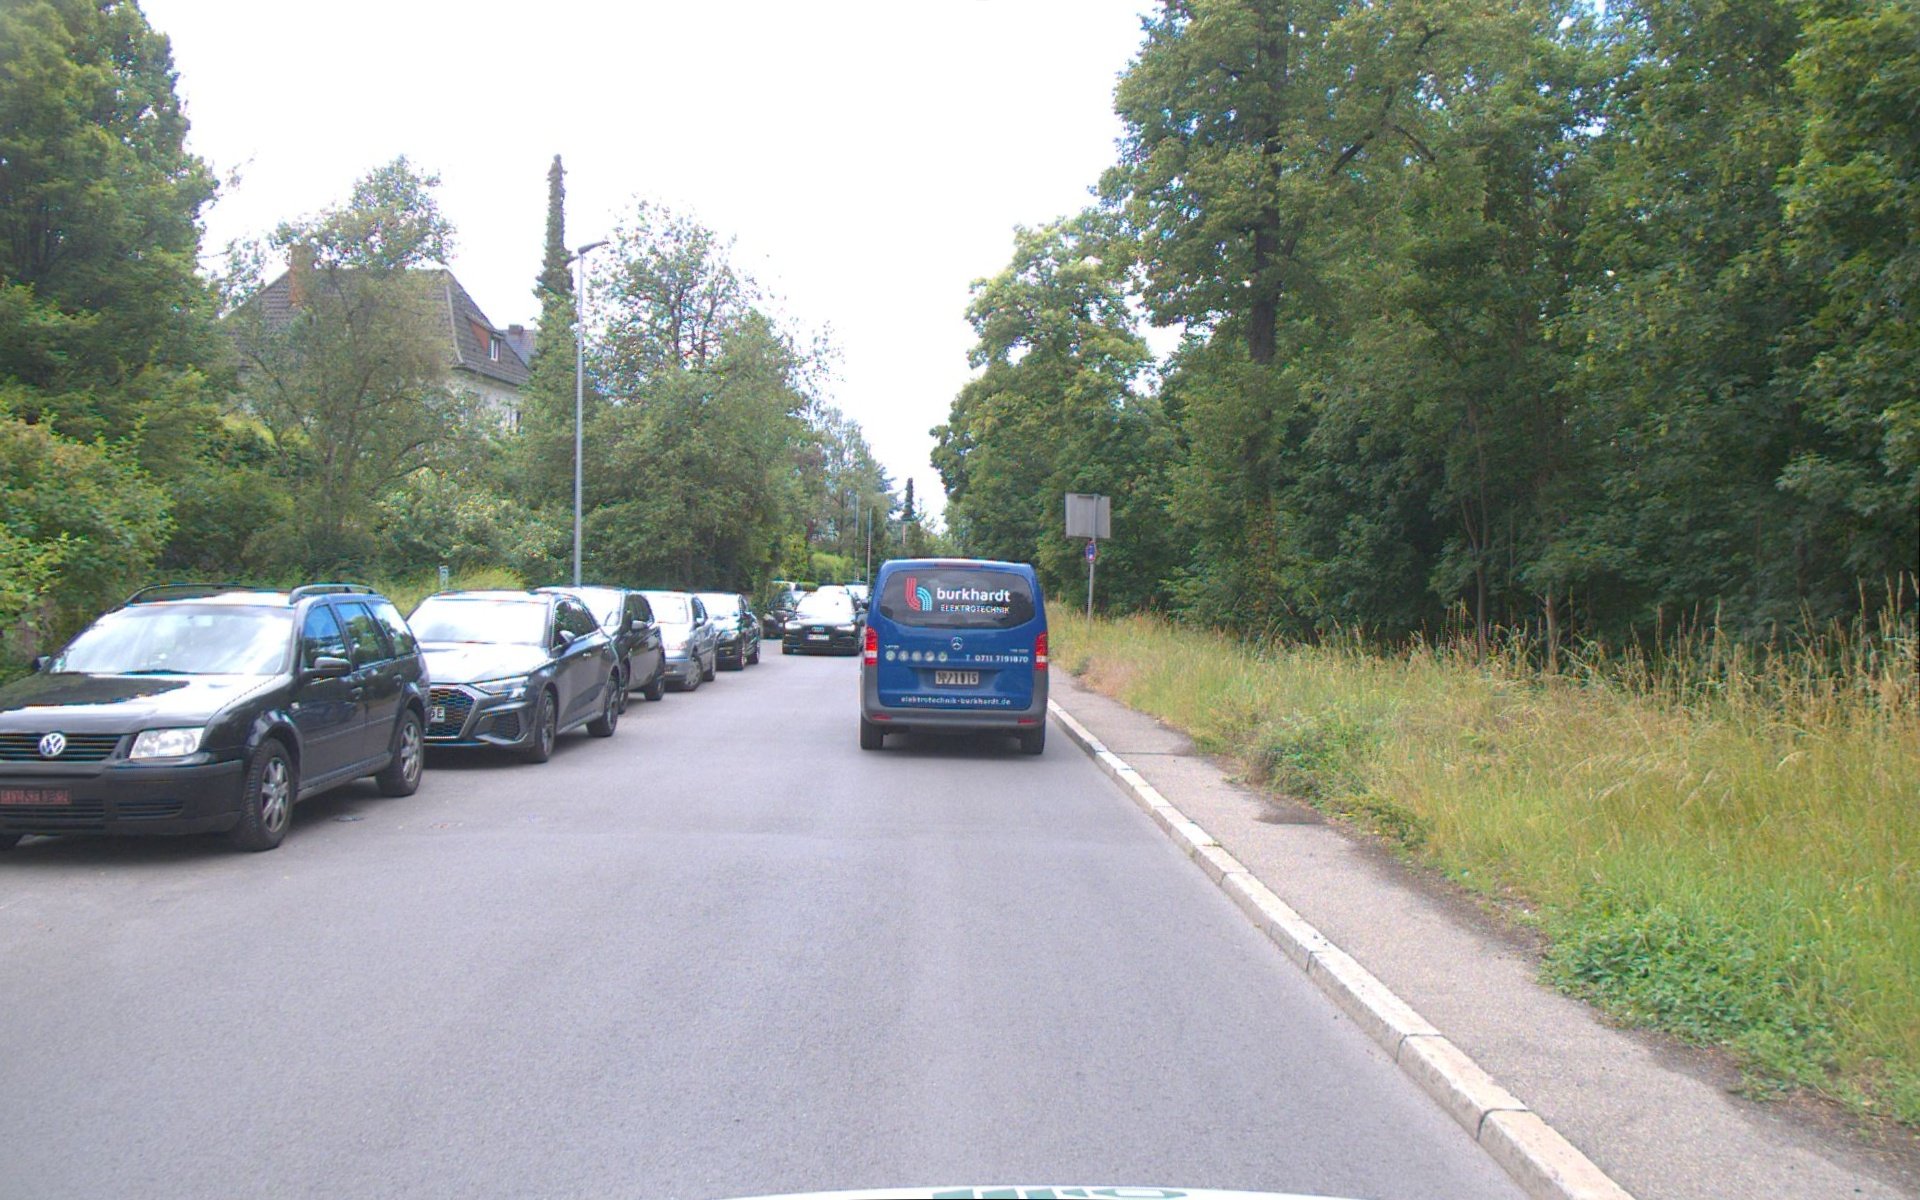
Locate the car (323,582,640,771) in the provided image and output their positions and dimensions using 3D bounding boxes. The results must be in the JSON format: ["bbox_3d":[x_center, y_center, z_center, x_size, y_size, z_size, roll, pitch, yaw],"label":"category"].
[{"bbox_3d":[-4.293,0.605,15.580,1.671,1.508,4.495,0,0,0],"label":"car"}]

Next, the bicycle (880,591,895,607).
[{"bbox_3d":[-6.108,-0.051,139.667,0.887,1.273,2.917,4,0,3],"label":"bicycle"}]

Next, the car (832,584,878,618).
[{"bbox_3d":[-5.760,0.052,91.282,1.933,1.767,5.191,3,0,2],"label":"car"}]

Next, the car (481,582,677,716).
[{"bbox_3d":[-4.668,0.545,20.795,1.591,1.508,3.999,0,0,-1],"label":"car"}]

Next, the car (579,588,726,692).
[{"bbox_3d":[-4.678,0.559,25.689,1.591,1.457,4.349,0,0,-2],"label":"car"}]

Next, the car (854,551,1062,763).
[{"bbox_3d":[-0.115,0.479,17.389,1.851,1.876,3.998,3,2,-3],"label":"car"}]

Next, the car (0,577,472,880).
[{"bbox_3d":[-4.622,0.630,10.603,1.648,1.508,4.692,0,0,-1],"label":"car"}]

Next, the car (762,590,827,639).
[{"bbox_3d":[-5.202,0.438,52.389,1.589,1.475,3.969,1,0,1],"label":"car"}]

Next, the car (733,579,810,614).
[{"bbox_3d":[-10.069,-0.189,88.345,3.614,1.666,1.830,3,0,12],"label":"car"}]

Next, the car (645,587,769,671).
[{"bbox_3d":[-4.824,0.512,32.175,1.742,1.457,5.103,2,0,-2],"label":"car"}]

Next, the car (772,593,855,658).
[{"bbox_3d":[-3.548,0.591,40.764,1.744,1.451,4.488,2,0,-2],"label":"car"}]

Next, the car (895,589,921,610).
[{"bbox_3d":[-4.442,-0.076,142.550,1.798,1.659,4.302,3,0,2],"label":"car"}]
